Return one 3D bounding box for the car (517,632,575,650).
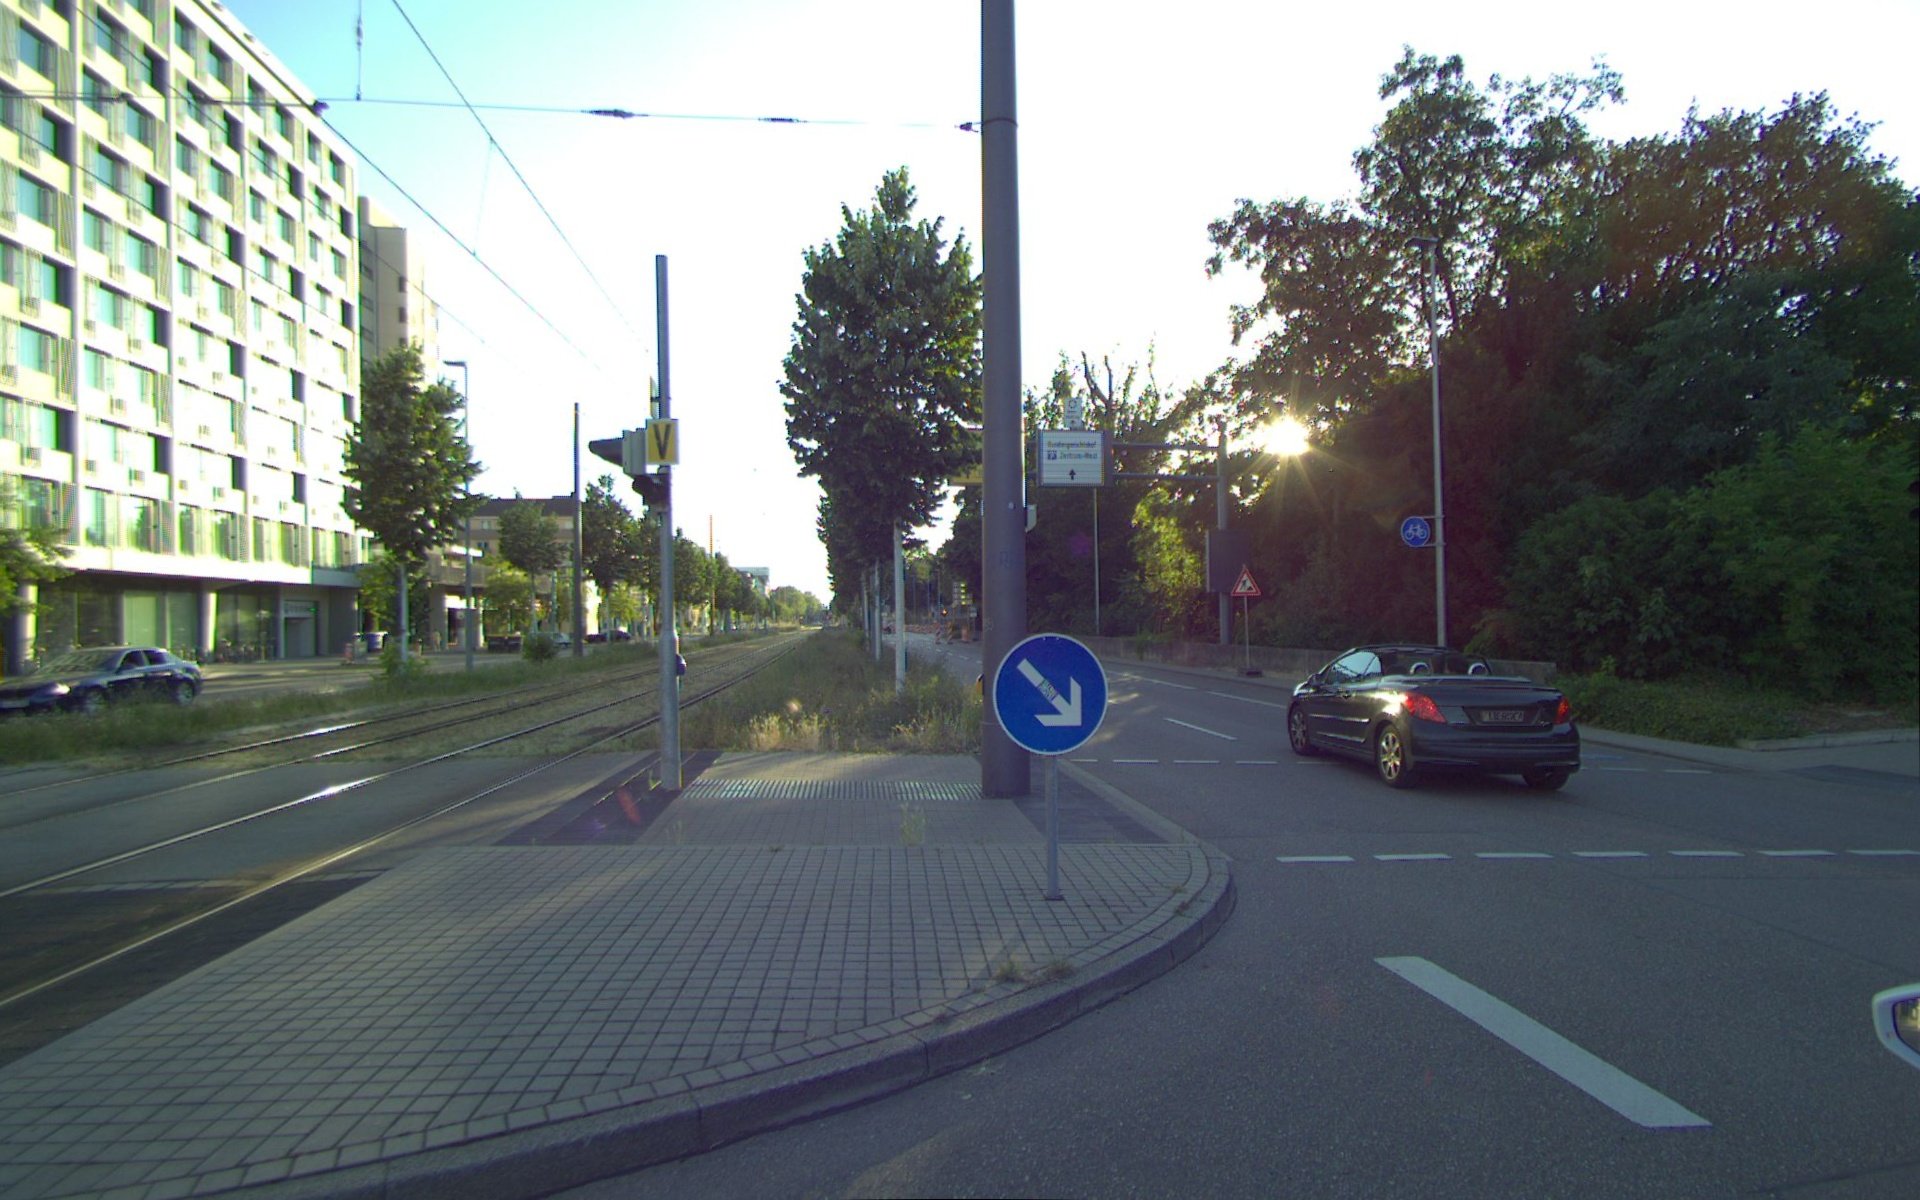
[{"bbox_3d":[-34.603,3.449,84.105,1.800,1.455,4.107,0,-2,43],"label":"car"}]

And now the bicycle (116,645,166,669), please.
[{"bbox_3d":[-36.426,2.536,44.672,1.717,1.033,0.420,-1,-1,-11],"label":"bicycle"}]

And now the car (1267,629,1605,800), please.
[{"bbox_3d":[4.864,1.078,10.944,1.691,1.469,3.900,-1,-1,-2],"label":"car"}]

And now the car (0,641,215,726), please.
[{"bbox_3d":[-18.539,1.714,21.509,1.984,1.460,4.796,-3,-1,-7],"label":"car"}]

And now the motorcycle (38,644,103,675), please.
[{"bbox_3d":[-36.194,2.410,40.896,1.870,1.187,0.513,0,-1,-23],"label":"motorcycle"}]

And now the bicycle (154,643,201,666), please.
[{"bbox_3d":[-36.885,2.582,47.349,1.761,1.033,0.420,-1,-1,-11],"label":"bicycle"}]

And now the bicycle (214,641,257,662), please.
[{"bbox_3d":[-37.051,2.609,51.350,1.761,1.033,0.420,-1,-1,-11],"label":"bicycle"}]
